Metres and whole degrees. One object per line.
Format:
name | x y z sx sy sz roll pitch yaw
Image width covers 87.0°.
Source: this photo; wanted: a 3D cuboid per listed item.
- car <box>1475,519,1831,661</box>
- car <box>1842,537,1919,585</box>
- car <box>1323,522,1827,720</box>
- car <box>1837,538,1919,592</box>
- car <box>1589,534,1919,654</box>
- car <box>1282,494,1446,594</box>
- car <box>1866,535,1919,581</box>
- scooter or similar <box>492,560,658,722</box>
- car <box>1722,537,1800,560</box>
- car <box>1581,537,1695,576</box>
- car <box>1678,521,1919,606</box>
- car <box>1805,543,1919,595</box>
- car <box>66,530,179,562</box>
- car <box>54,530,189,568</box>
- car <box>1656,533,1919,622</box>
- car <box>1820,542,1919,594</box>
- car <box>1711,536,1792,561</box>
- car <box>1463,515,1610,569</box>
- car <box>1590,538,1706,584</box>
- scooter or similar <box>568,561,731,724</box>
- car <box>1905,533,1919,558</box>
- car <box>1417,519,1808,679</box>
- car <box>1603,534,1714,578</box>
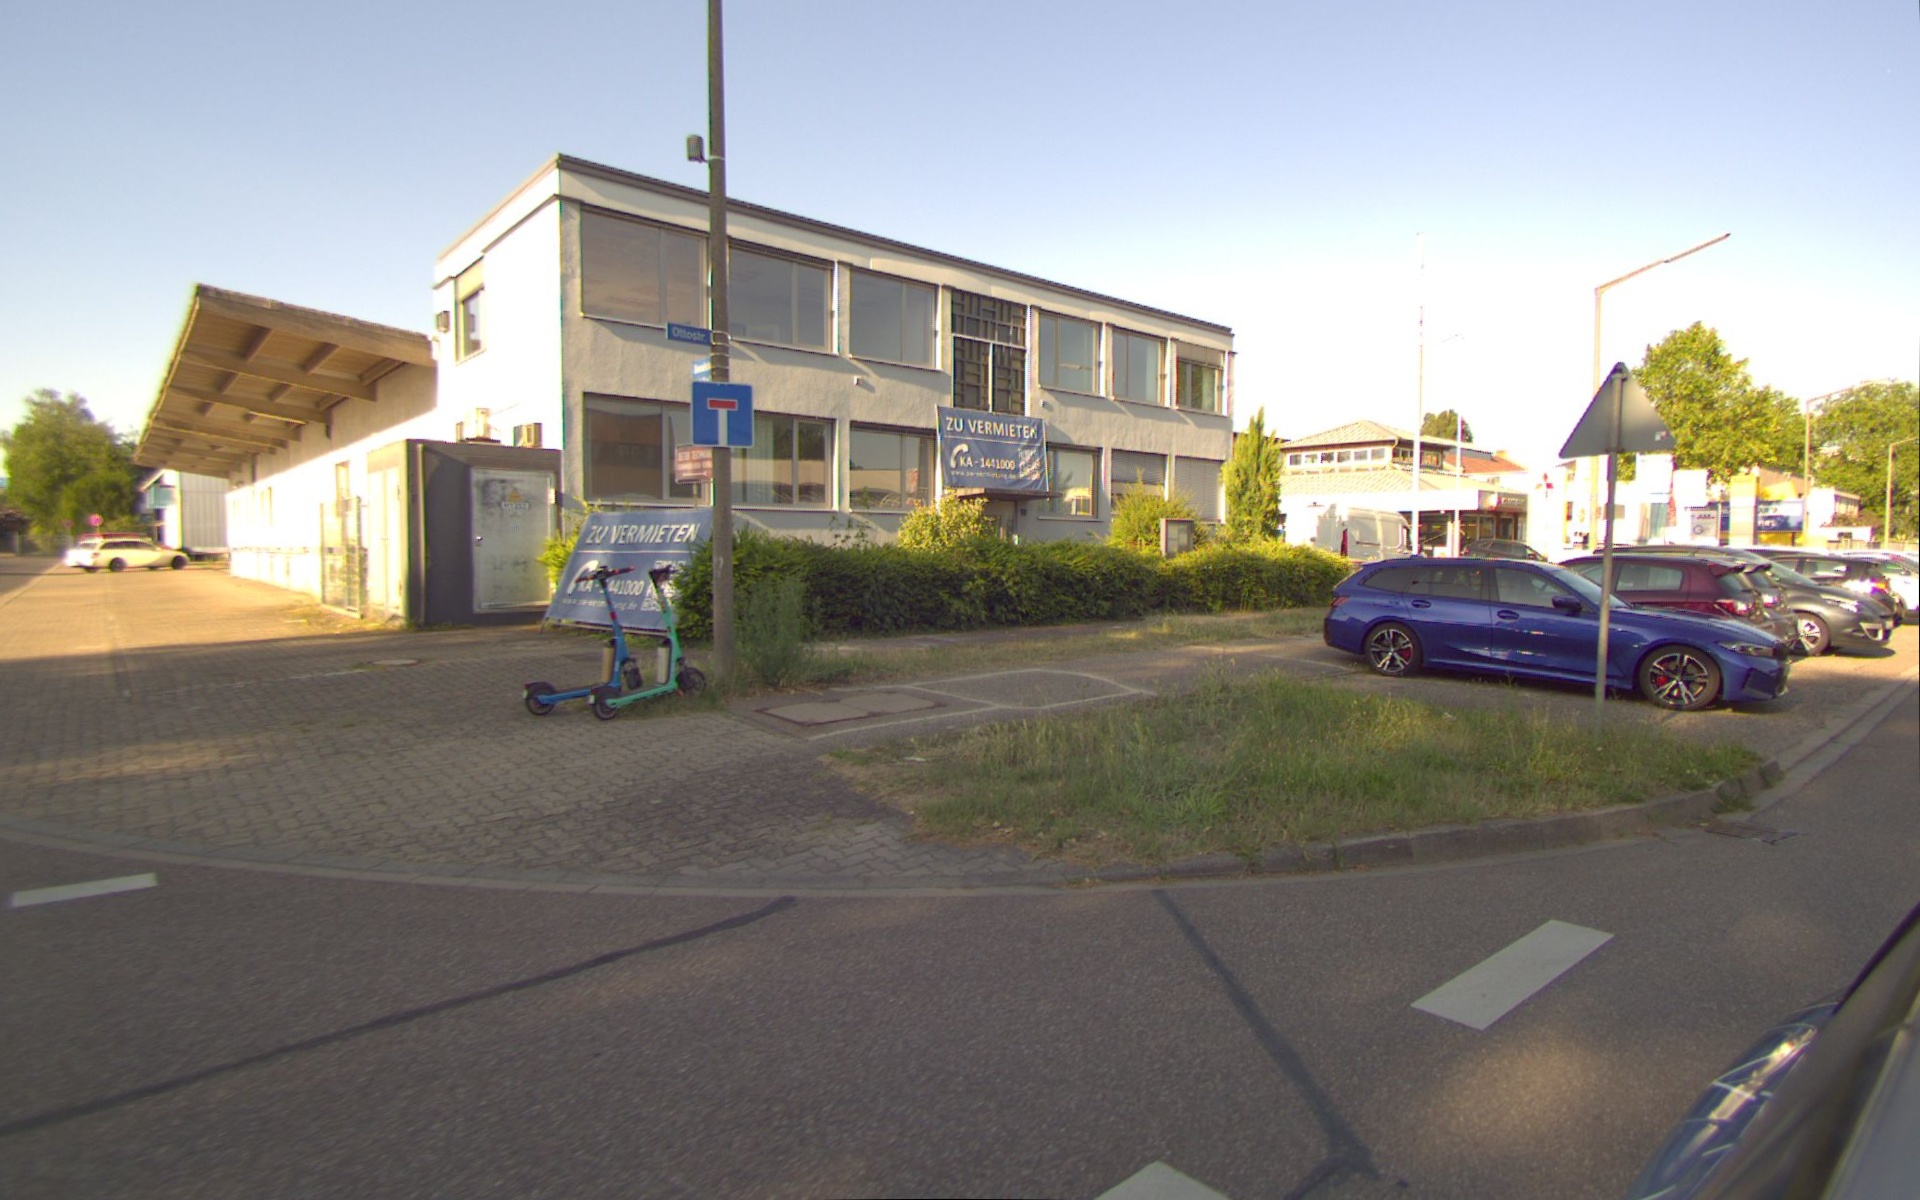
car | 10.225 -0.276 15.196 1.769 1.671 3.999 -2 7 -40
car | 34.037 -1.358 35.783 2.026 1.637 4.113 -2 4 -44
car | 6.705 0.046 11.480 1.725 1.692 4.530 -2 6 -44
car | 32.280 -1.186 33.995 1.853 1.761 4.112 -2 2 -44
car | 12.940 -0.215 16.561 1.962 1.632 4.004 -1 5 -33
car | 12.012 -1.606 29.838 6.032 2.657 1.997 -2 2 -41
car | 35.949 -1.497 37.026 1.837 1.606 3.992 -2 5 -44
scooter or similar | -3.333 0.311 8.816 1.274 1.314 0.442 -2 2 -44
car | 54.472 -3.467 68.841 1.968 1.515 3.989 -2 3 -45
car | 34.766 -2.229 51.986 2.164 1.922 4.503 -2 3 -41
car | 19.746 -0.914 23.546 2.166 1.616 4.563 -2 7 -43
car | 28.966 -0.931 30.988 2.099 1.453 4.447 -1 5 -41
car | -45.688 -2.912 55.358 1.971 1.671 4.477 0 2 14
car | -38.296 -2.308 46.396 1.971 1.671 4.477 0 2 14
car | 18.047 -0.568 22.130 1.888 1.642 4.258 -2 6 -41
car | 30.391 -1.027 32.393 4.243 1.625 1.718 2 2 44
car | 51.906 -3.358 66.398 1.922 1.537 3.989 -2 3 -45
car | 20.885 -2.145 36.794 1.965 1.792 4.154 -2 5 -40
car | 30.291 -1.767 44.634 1.756 1.921 3.910 -4 5 -41
scooter or similar | -2.660 0.322 8.750 1.274 1.314 0.442 -2 2 -44
car | 108.760 -5.960 111.187 2.097 2.692 6.995 0 3 -40
car | 8.492 -0.151 13.454 1.713 1.671 3.995 -2 6 -43
car | 33.385 -2.113 48.423 2.163 1.922 3.941 2 1 -41
